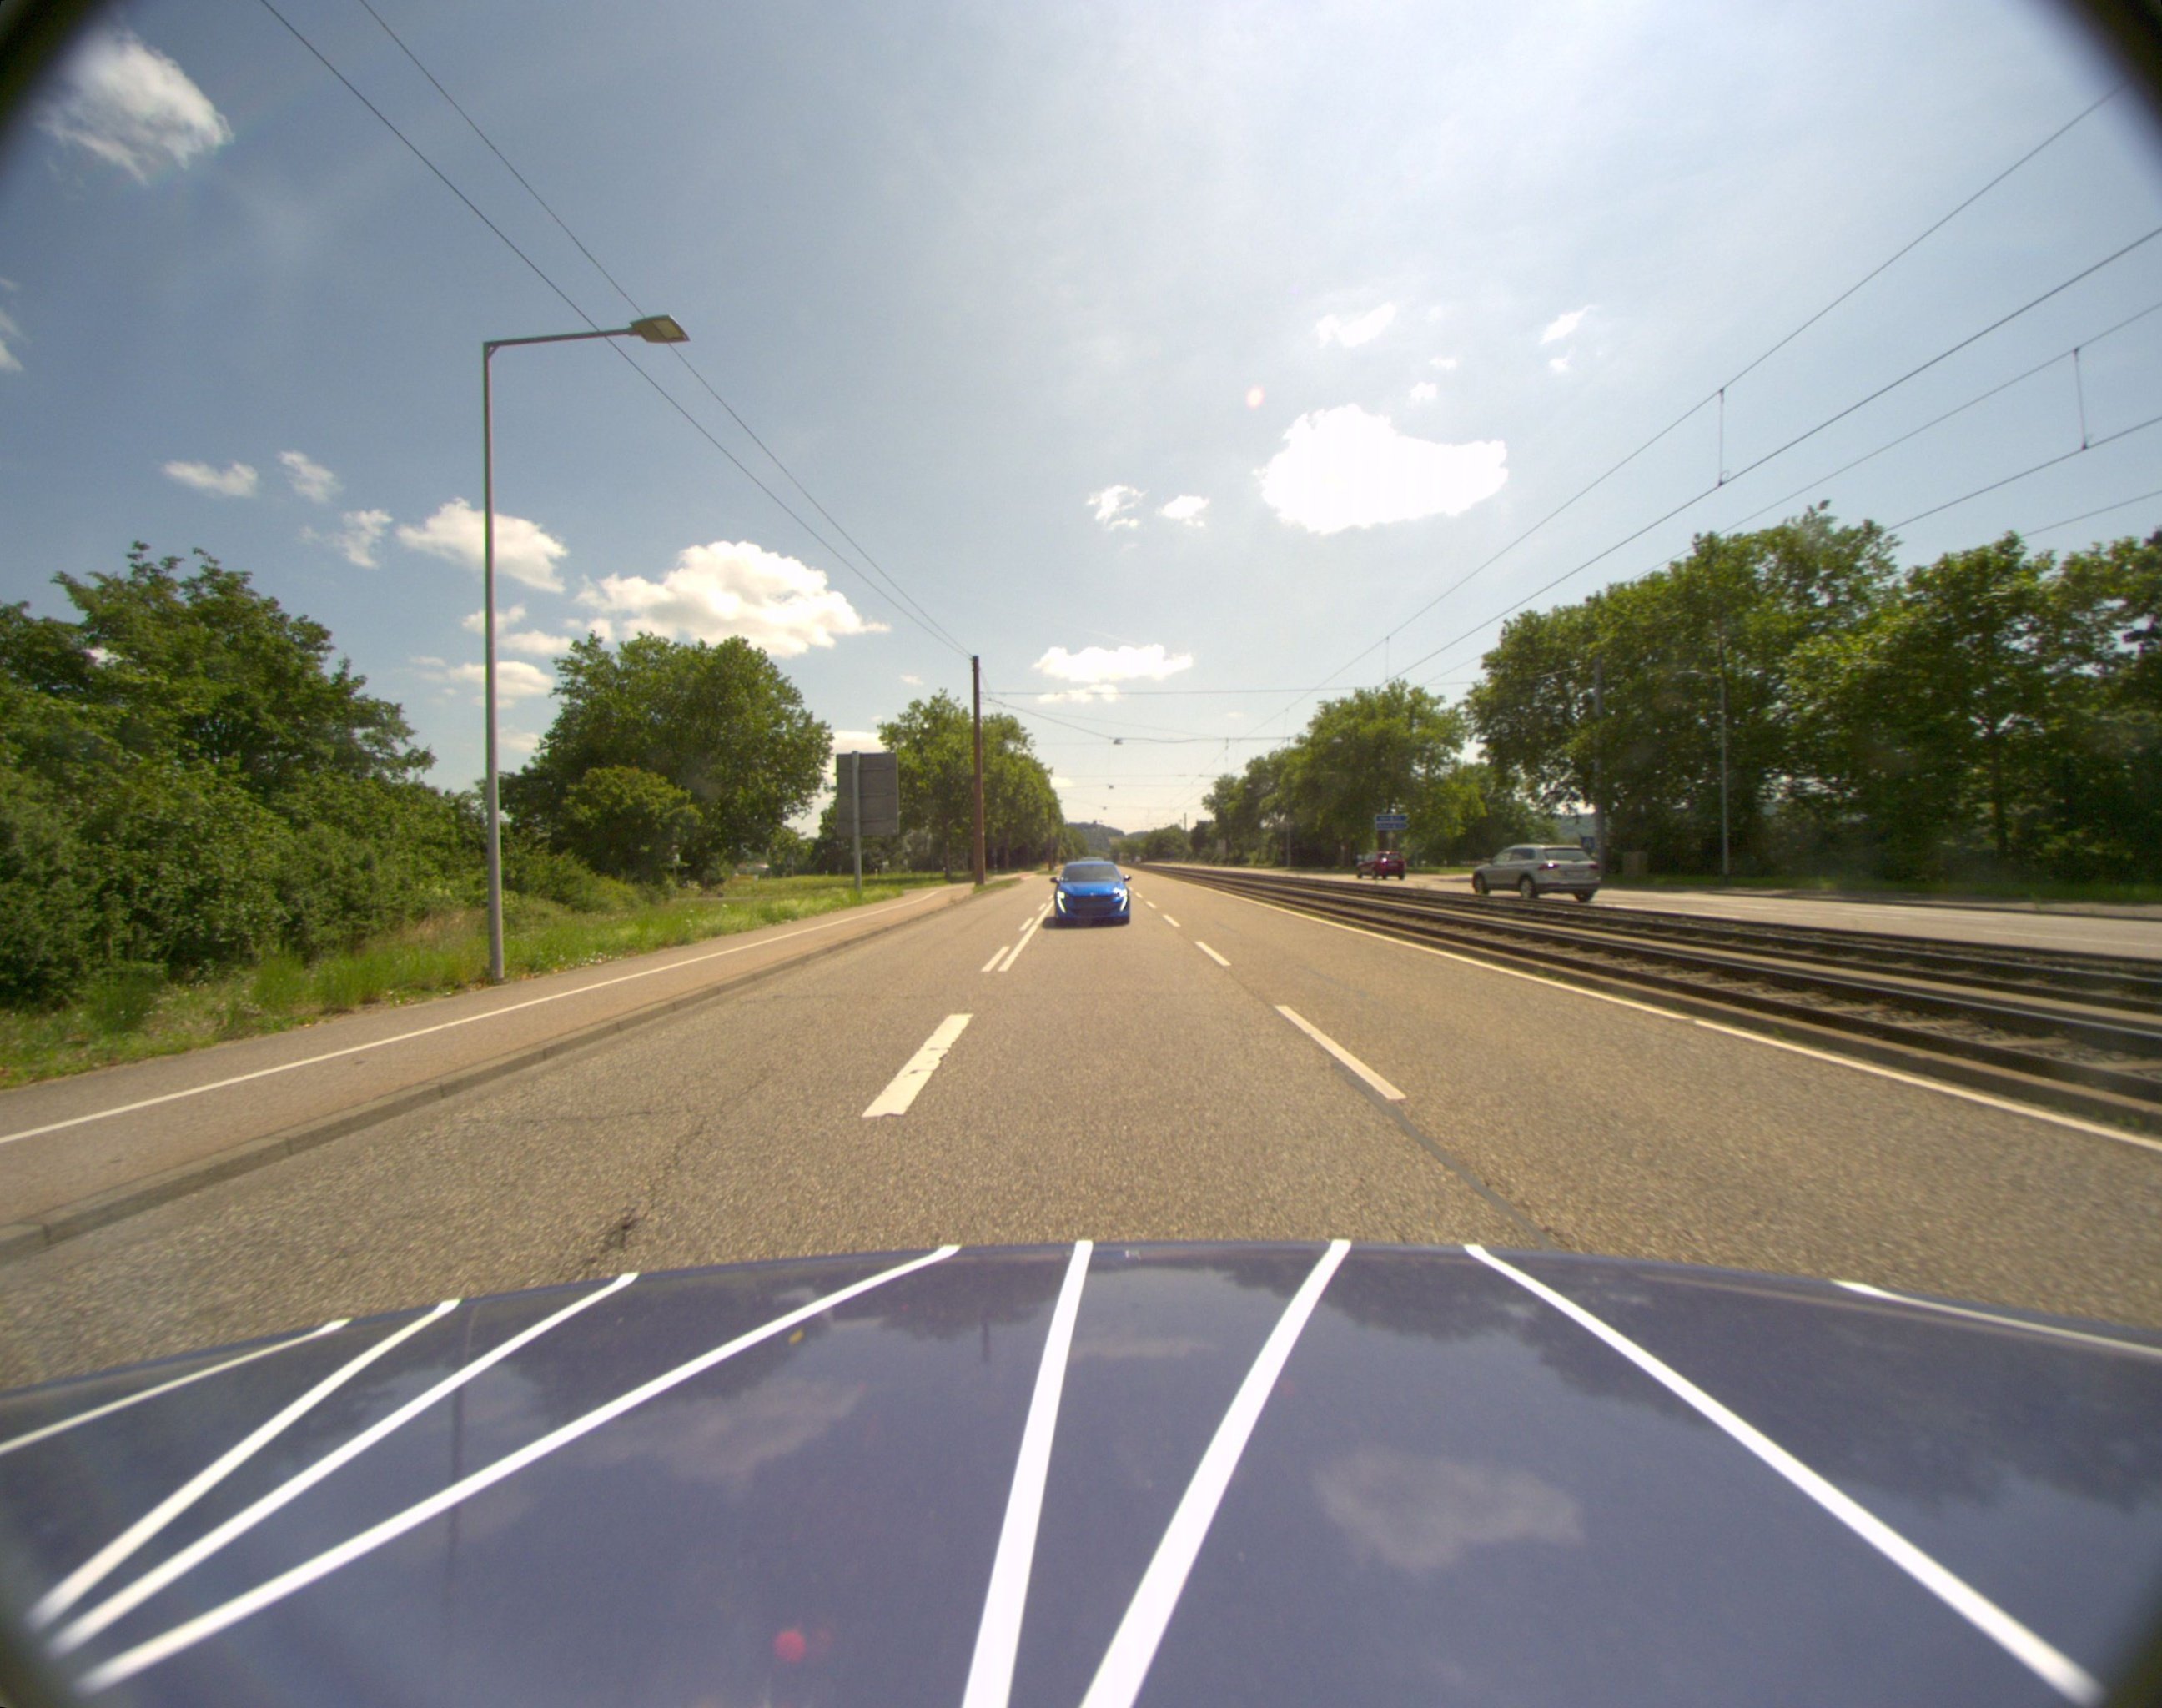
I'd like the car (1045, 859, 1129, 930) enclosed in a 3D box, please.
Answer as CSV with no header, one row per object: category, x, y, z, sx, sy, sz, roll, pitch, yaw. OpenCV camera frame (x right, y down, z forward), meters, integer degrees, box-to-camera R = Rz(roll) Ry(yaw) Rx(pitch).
car,0.178,0.891,18.686,1.771,1.463,4.467,-2,0,1

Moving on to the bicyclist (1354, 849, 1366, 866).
bicyclist,25.085,0.280,68.326,0.623,1.509,1.160,-1,1,0

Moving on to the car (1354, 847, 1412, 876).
car,17.833,0.418,45.012,1.806,1.616,4.211,0,0,1

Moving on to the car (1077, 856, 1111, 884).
car,0.733,0.846,42.354,1.771,1.422,4.000,-2,0,1

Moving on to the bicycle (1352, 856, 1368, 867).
bicycle,25.116,0.697,68.368,0.623,0.934,2.091,-1,0,0

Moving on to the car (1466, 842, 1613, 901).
car,13.736,0.475,23.142,1.806,1.616,4.494,0,0,1
